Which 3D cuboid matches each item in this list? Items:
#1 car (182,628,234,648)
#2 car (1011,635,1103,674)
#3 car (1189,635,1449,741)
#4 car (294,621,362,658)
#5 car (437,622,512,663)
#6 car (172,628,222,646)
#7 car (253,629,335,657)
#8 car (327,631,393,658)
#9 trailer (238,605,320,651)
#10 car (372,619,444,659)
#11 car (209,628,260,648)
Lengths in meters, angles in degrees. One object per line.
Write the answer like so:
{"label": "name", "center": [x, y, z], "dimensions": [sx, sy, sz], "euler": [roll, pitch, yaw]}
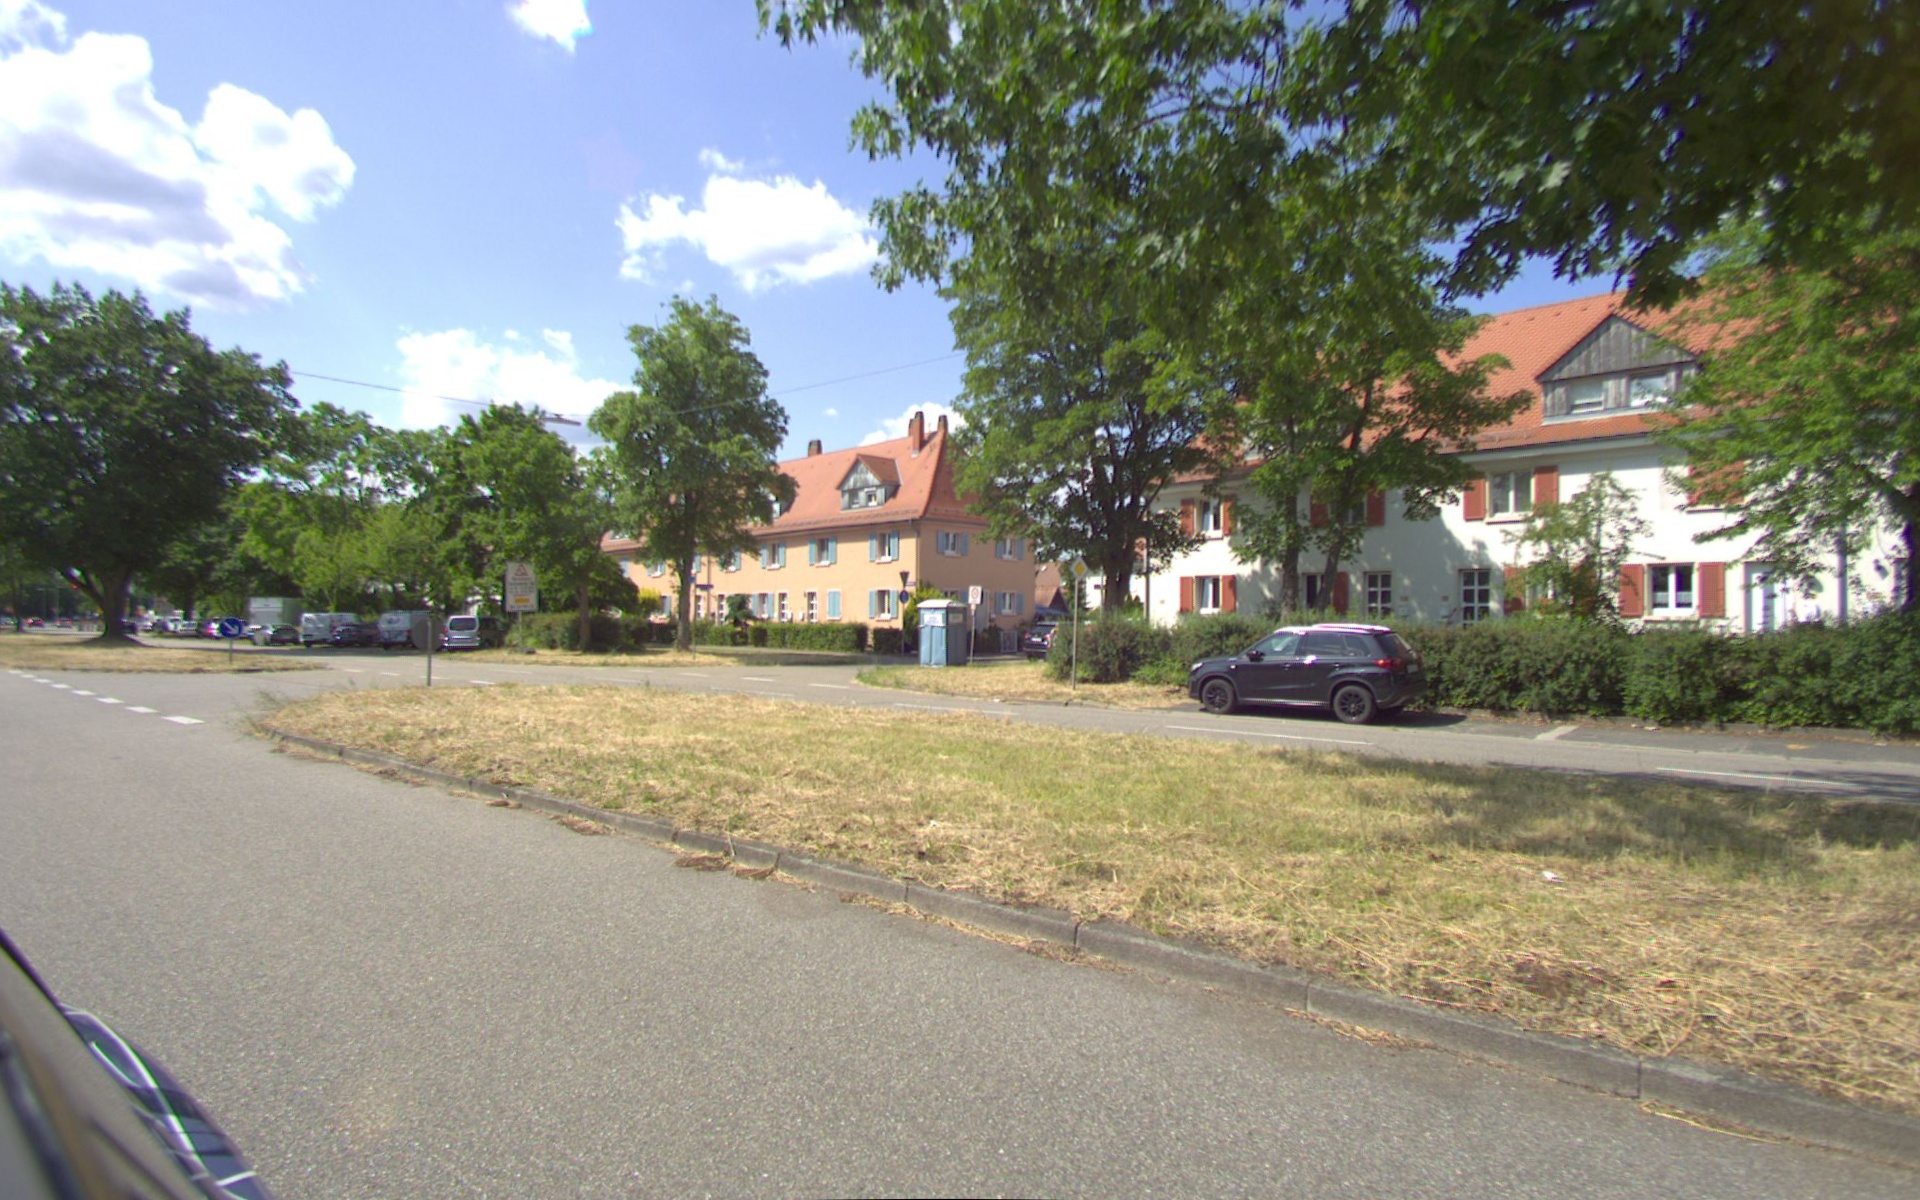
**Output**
{"label": "car", "center": [-59.797, 3.013, 80.527], "dimensions": [1.646, 1.475, 3.826], "euler": [-1, 0, -7]}
{"label": "car", "center": [4.000, 2.188, 41.411], "dimensions": [1.799, 1.522, 3.945], "euler": [-1, -3, 41]}
{"label": "car", "center": [6.299, 1.465, 18.001], "dimensions": [3.998, 1.564, 1.749], "euler": [-1, 0, 41]}
{"label": "car", "center": [-37.618, 2.326, 60.313], "dimensions": [1.778, 2.029, 4.004], "euler": [-1, 0, -4]}
{"label": "car", "center": [-23.324, 2.028, 48.740], "dimensions": [1.779, 1.874, 4.000], "euler": [-1, -1, -1]}
{"label": "car", "center": [-64.232, 3.128, 85.252], "dimensions": [1.646, 1.359, 3.826], "euler": [-1, 0, -7]}
{"label": "car", "center": [-41.566, 2.654, 63.227], "dimensions": [1.800, 1.522, 3.944], "euler": [-1, 0, 42]}
{"label": "car", "center": [-34.824, 2.561, 58.871], "dimensions": [1.551, 1.408, 4.001], "euler": [-1, 0, -1]}
{"label": "trailer", "center": [-49.008, 1.985, 72.980], "dimensions": [2.782, 3.132, 5.765], "euler": [-1, -1, -10]}
{"label": "car", "center": [-30.111, 2.095, 55.313], "dimensions": [1.779, 2.029, 4.001], "euler": [-1, 0, -1]}
{"label": "car", "center": [-57.187, 2.979, 79.831], "dimensions": [1.646, 1.475, 3.826], "euler": [-1, 0, -7]}
